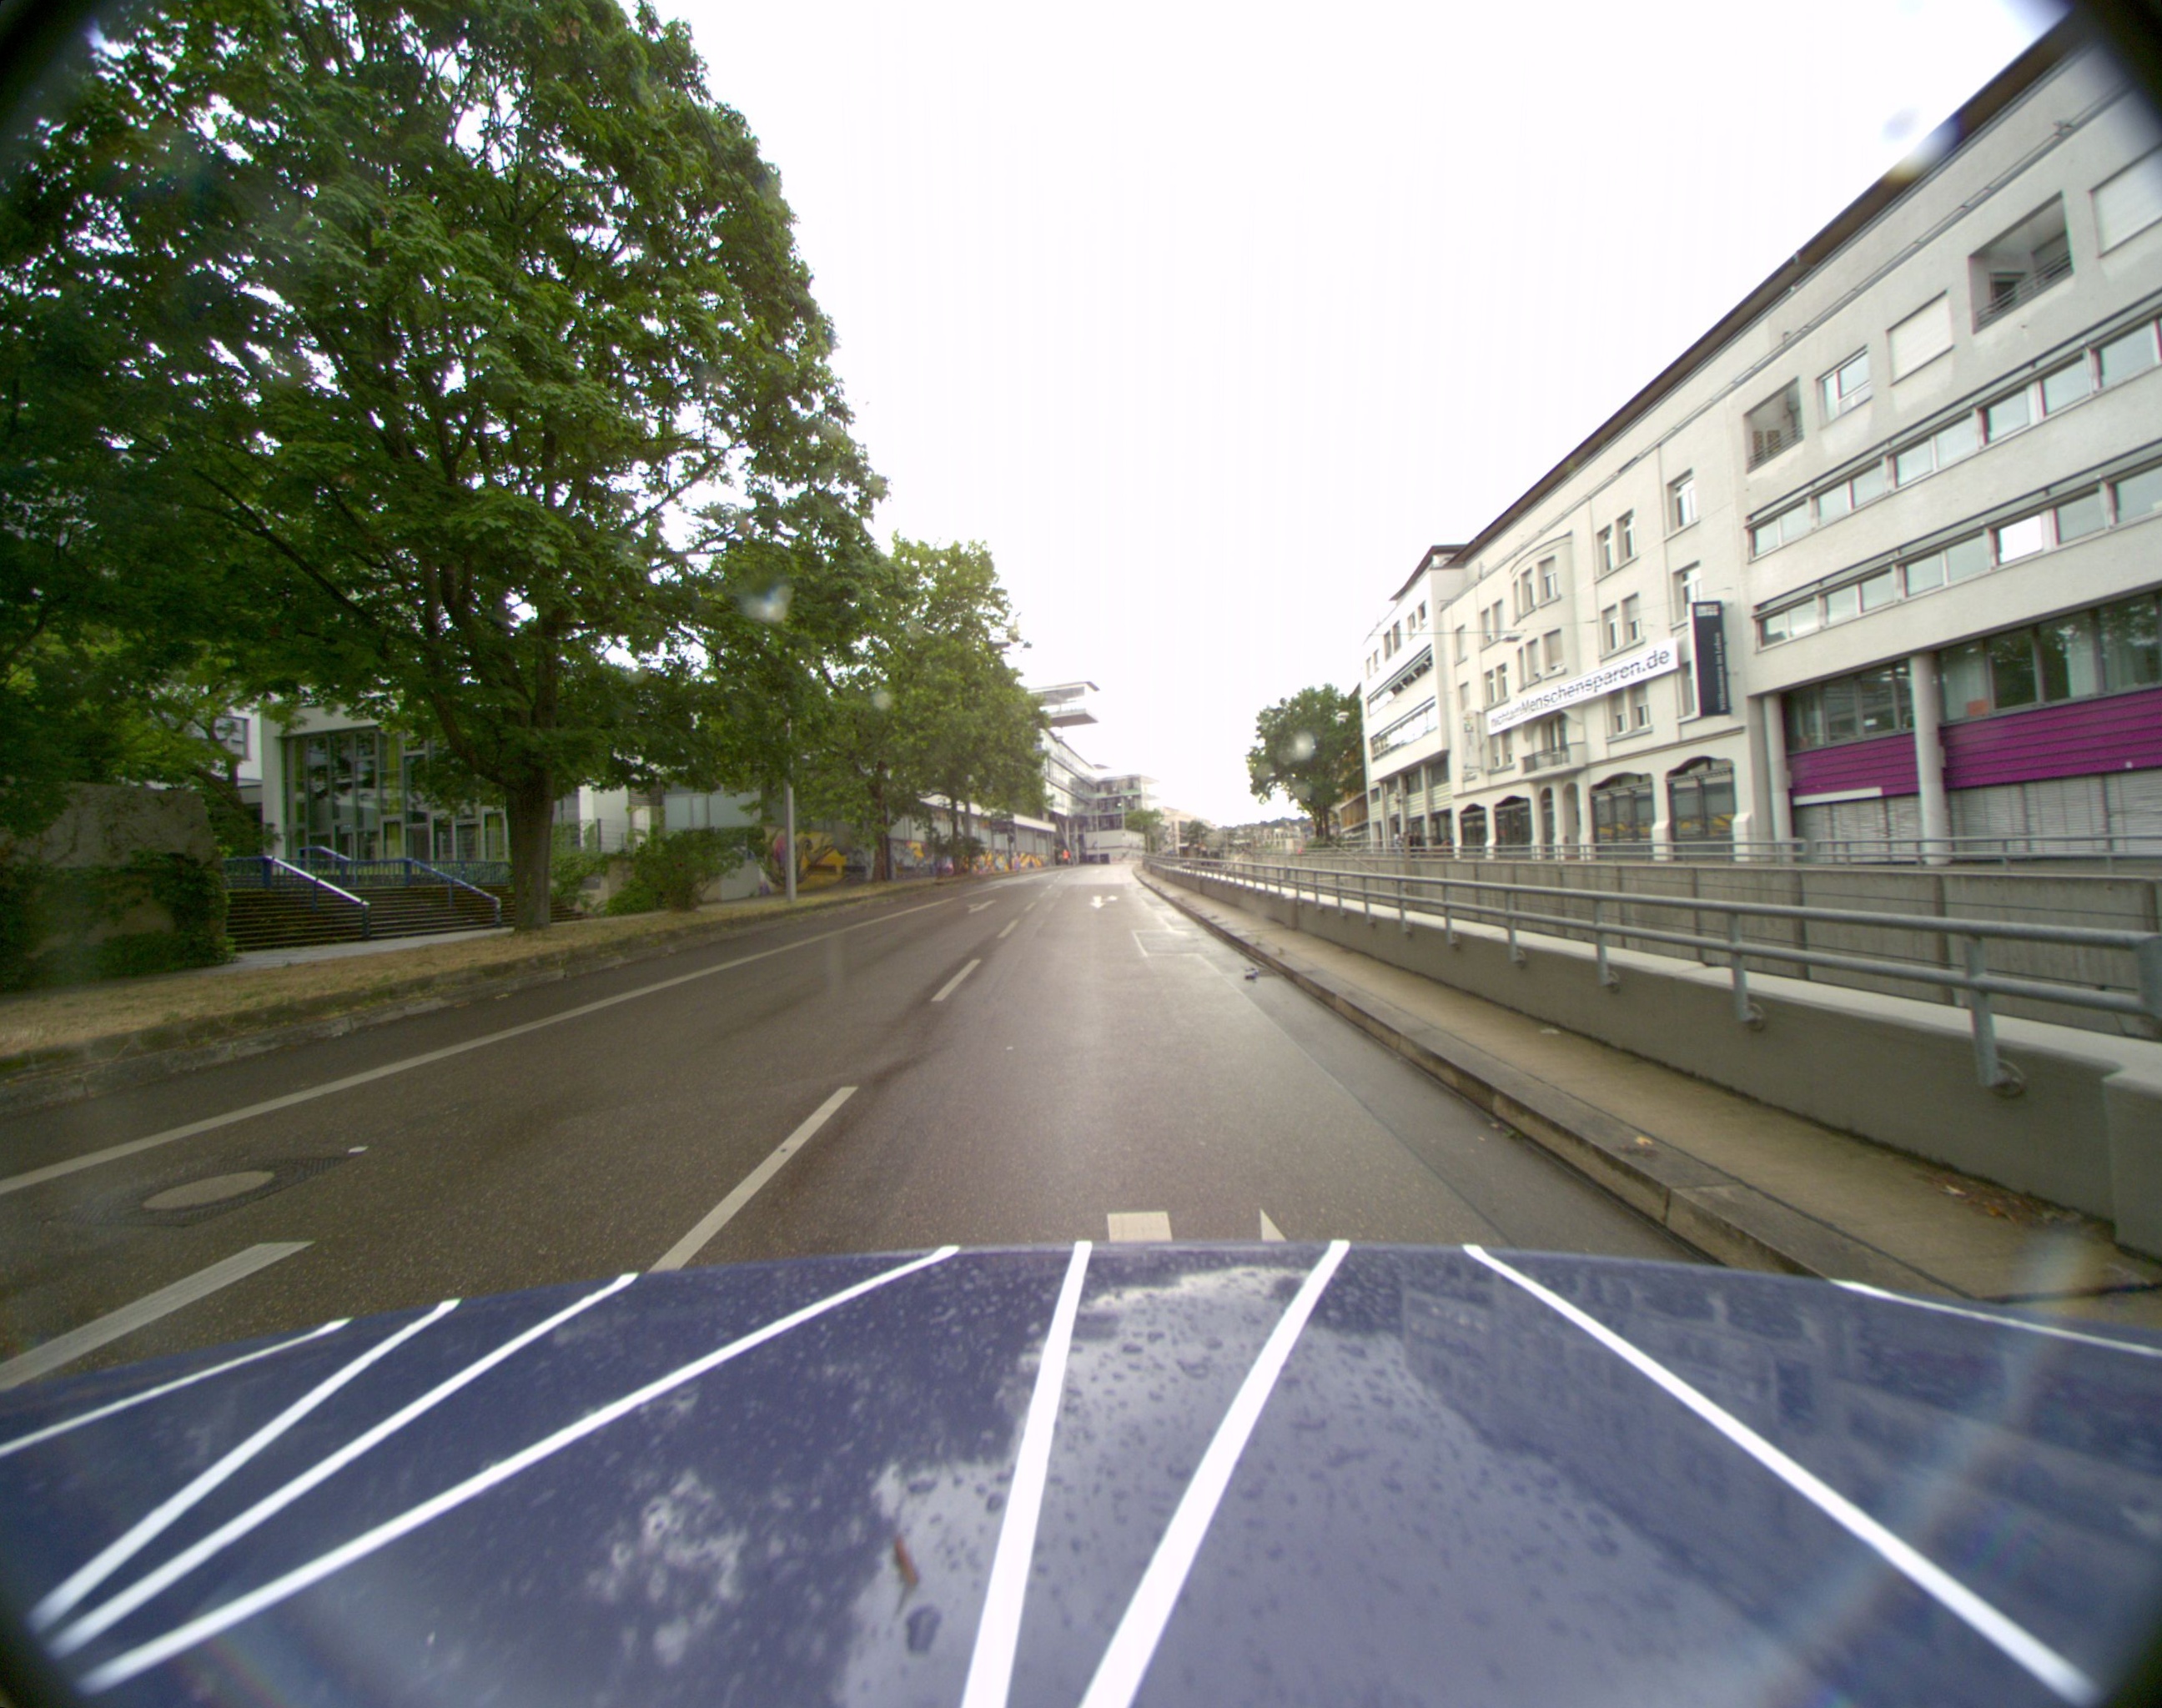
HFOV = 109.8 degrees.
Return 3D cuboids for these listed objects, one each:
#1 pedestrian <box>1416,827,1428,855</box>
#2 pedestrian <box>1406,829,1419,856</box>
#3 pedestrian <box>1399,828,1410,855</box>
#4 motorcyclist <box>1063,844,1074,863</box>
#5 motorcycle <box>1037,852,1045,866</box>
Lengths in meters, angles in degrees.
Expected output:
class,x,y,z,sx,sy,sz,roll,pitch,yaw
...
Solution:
class,x,y,z,sx,sy,sz,roll,pitch,yaw
pedestrian,22.573,-0.859,50.310,0.470,1.792,0.547,-4,1,3
pedestrian,22.482,-0.785,51.572,0.547,1.792,0.470,-4,1,-7
pedestrian,21.895,-0.876,51.413,0.469,1.792,0.548,-4,1,8
motorcyclist,-1.388,-0.049,85.891,0.756,2.002,0.999,-4,1,-25
motorcycle,-3.560,0.440,67.632,0.469,1.218,1.019,-4,0,9
